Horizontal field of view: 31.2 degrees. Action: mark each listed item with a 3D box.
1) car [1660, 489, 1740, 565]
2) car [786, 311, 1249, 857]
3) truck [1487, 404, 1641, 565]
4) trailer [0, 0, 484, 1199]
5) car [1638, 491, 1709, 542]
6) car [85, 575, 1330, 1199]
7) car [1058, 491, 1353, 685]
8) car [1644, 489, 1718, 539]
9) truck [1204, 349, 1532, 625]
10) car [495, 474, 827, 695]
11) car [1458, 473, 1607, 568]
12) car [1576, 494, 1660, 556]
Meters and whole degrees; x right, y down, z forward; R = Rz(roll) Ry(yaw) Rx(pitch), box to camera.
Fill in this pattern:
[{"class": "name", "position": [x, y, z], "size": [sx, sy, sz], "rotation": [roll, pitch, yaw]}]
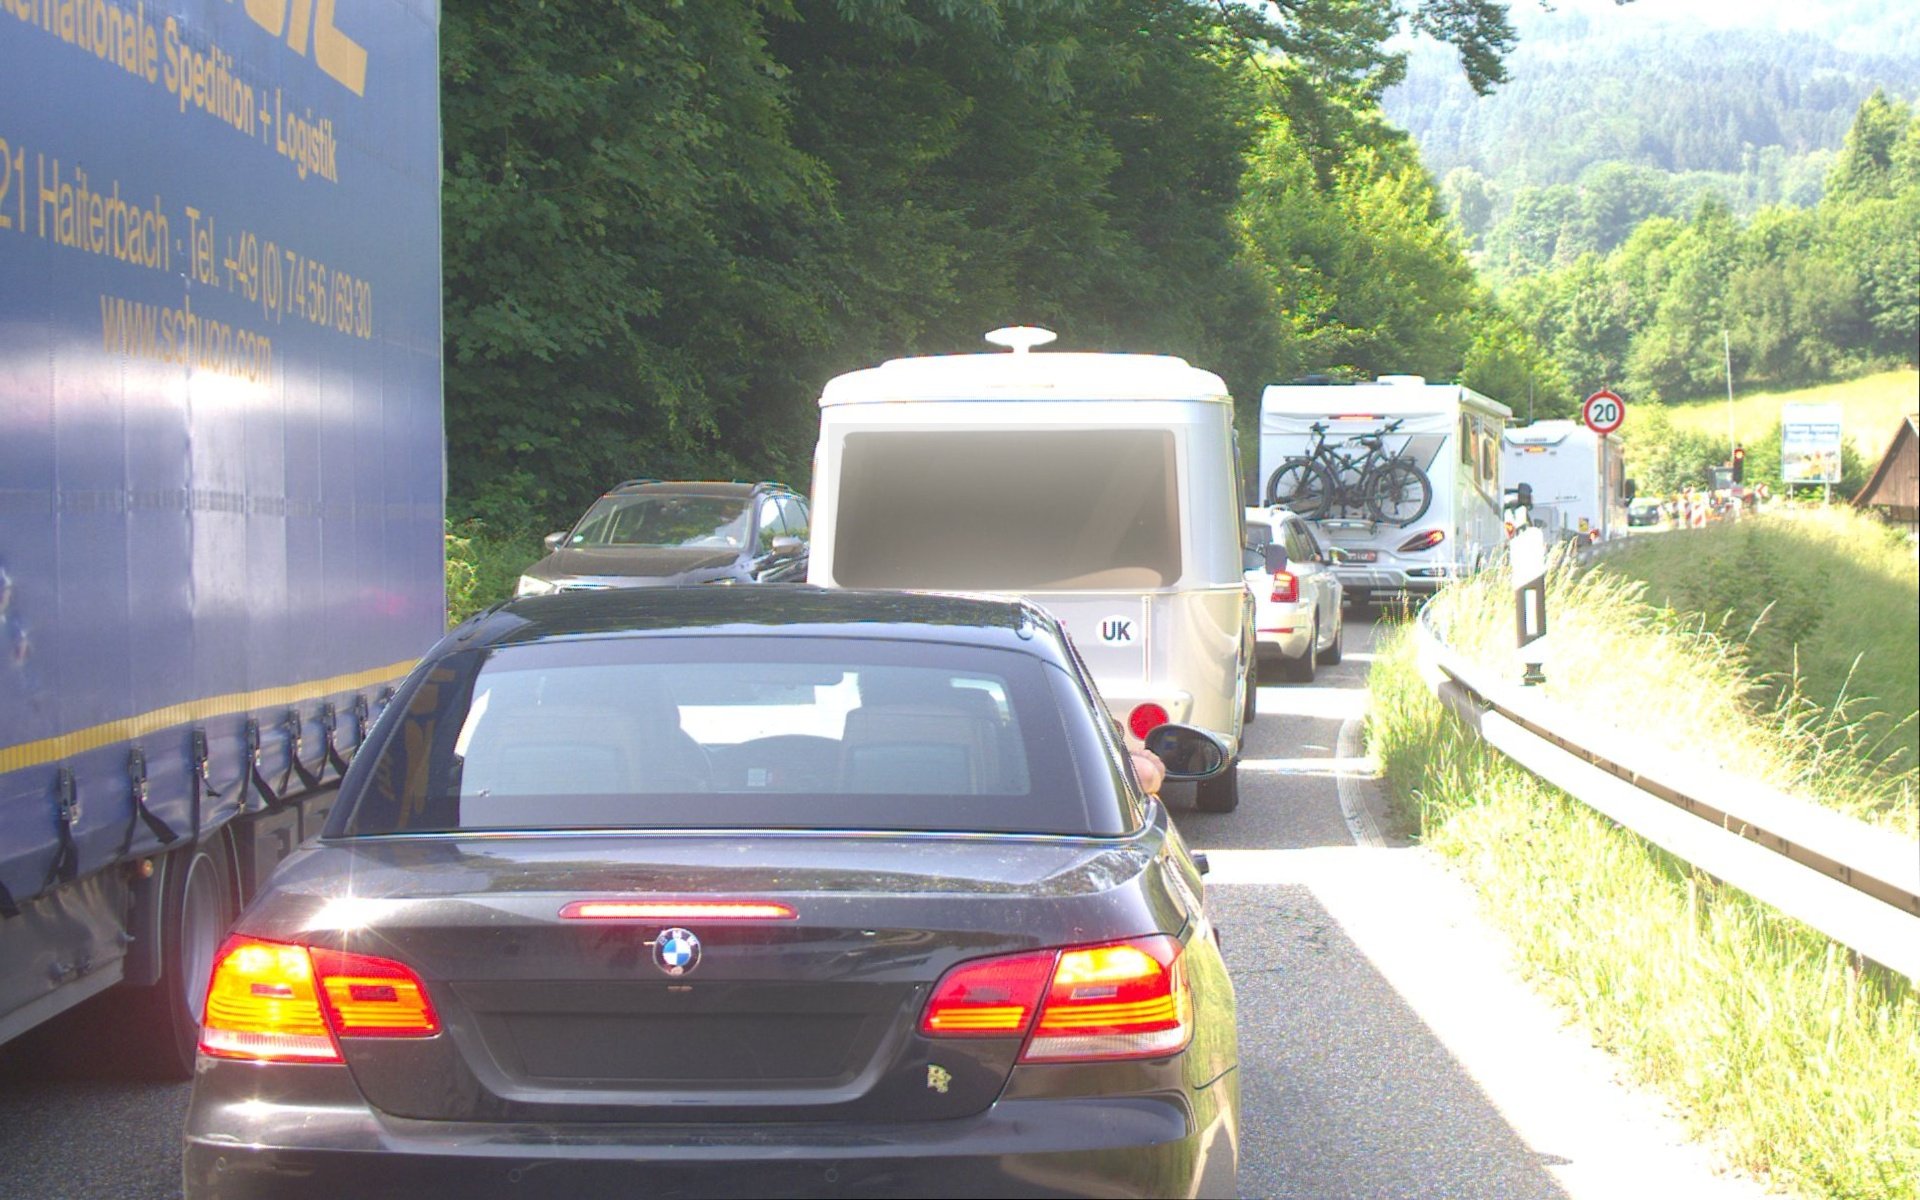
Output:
[{"class": "car", "position": [20.457, -1.999, 94.979], "size": [1.995, 1.919, 3.998], "rotation": [4, 1, 13]}, {"class": "car", "position": [0.438, -0.159, 17.311], "size": [1.994, 2.345, 4.913], "rotation": [0, 2, 5]}, {"class": "truck", "position": [11.172, -2.064, 63.252], "size": [2.239, 2.794, 6.228], "rotation": [1, 1, 15]}, {"class": "trailer", "position": [-3.390, -0.790, 5.855], "size": [3.259, 4.402, 15.318], "rotation": [0, 2, -1]}, {"class": "car", "position": [25.351, -2.960, 122.083], "size": [1.995, 1.678, 3.996], "rotation": [1, 1, 18]}, {"class": "car", "position": [-0.305, 0.663, 6.773], "size": [1.771, 1.331, 3.767], "rotation": [0, 2, 2]}, {"class": "car", "position": [2.177, -0.158, 29.421], "size": [1.994, 1.479, 3.998], "rotation": [2, 2, 11]}, {"class": "car", "position": [23.651, -2.810, 112.668], "size": [1.995, 1.570, 3.997], "rotation": [1, 1, 17]}, {"class": "truck", "position": [5.092, -1.394, 41.762], "size": [2.793, 2.987, 6.863], "rotation": [3, 3, 16]}, {"class": "car", "position": [-2.250, -0.187, 26.942], "size": [1.822, 1.579, 4.082], "rotation": [1, 2, 6]}, {"class": "car", "position": [9.513, -1.346, 56.939], "size": [1.789, 1.459, 3.997], "rotation": [3, 3, 18]}, {"class": "car", "position": [16.404, -1.845, 85.596], "size": [1.907, 1.481, 3.998], "rotation": [1, 1, 13]}]
